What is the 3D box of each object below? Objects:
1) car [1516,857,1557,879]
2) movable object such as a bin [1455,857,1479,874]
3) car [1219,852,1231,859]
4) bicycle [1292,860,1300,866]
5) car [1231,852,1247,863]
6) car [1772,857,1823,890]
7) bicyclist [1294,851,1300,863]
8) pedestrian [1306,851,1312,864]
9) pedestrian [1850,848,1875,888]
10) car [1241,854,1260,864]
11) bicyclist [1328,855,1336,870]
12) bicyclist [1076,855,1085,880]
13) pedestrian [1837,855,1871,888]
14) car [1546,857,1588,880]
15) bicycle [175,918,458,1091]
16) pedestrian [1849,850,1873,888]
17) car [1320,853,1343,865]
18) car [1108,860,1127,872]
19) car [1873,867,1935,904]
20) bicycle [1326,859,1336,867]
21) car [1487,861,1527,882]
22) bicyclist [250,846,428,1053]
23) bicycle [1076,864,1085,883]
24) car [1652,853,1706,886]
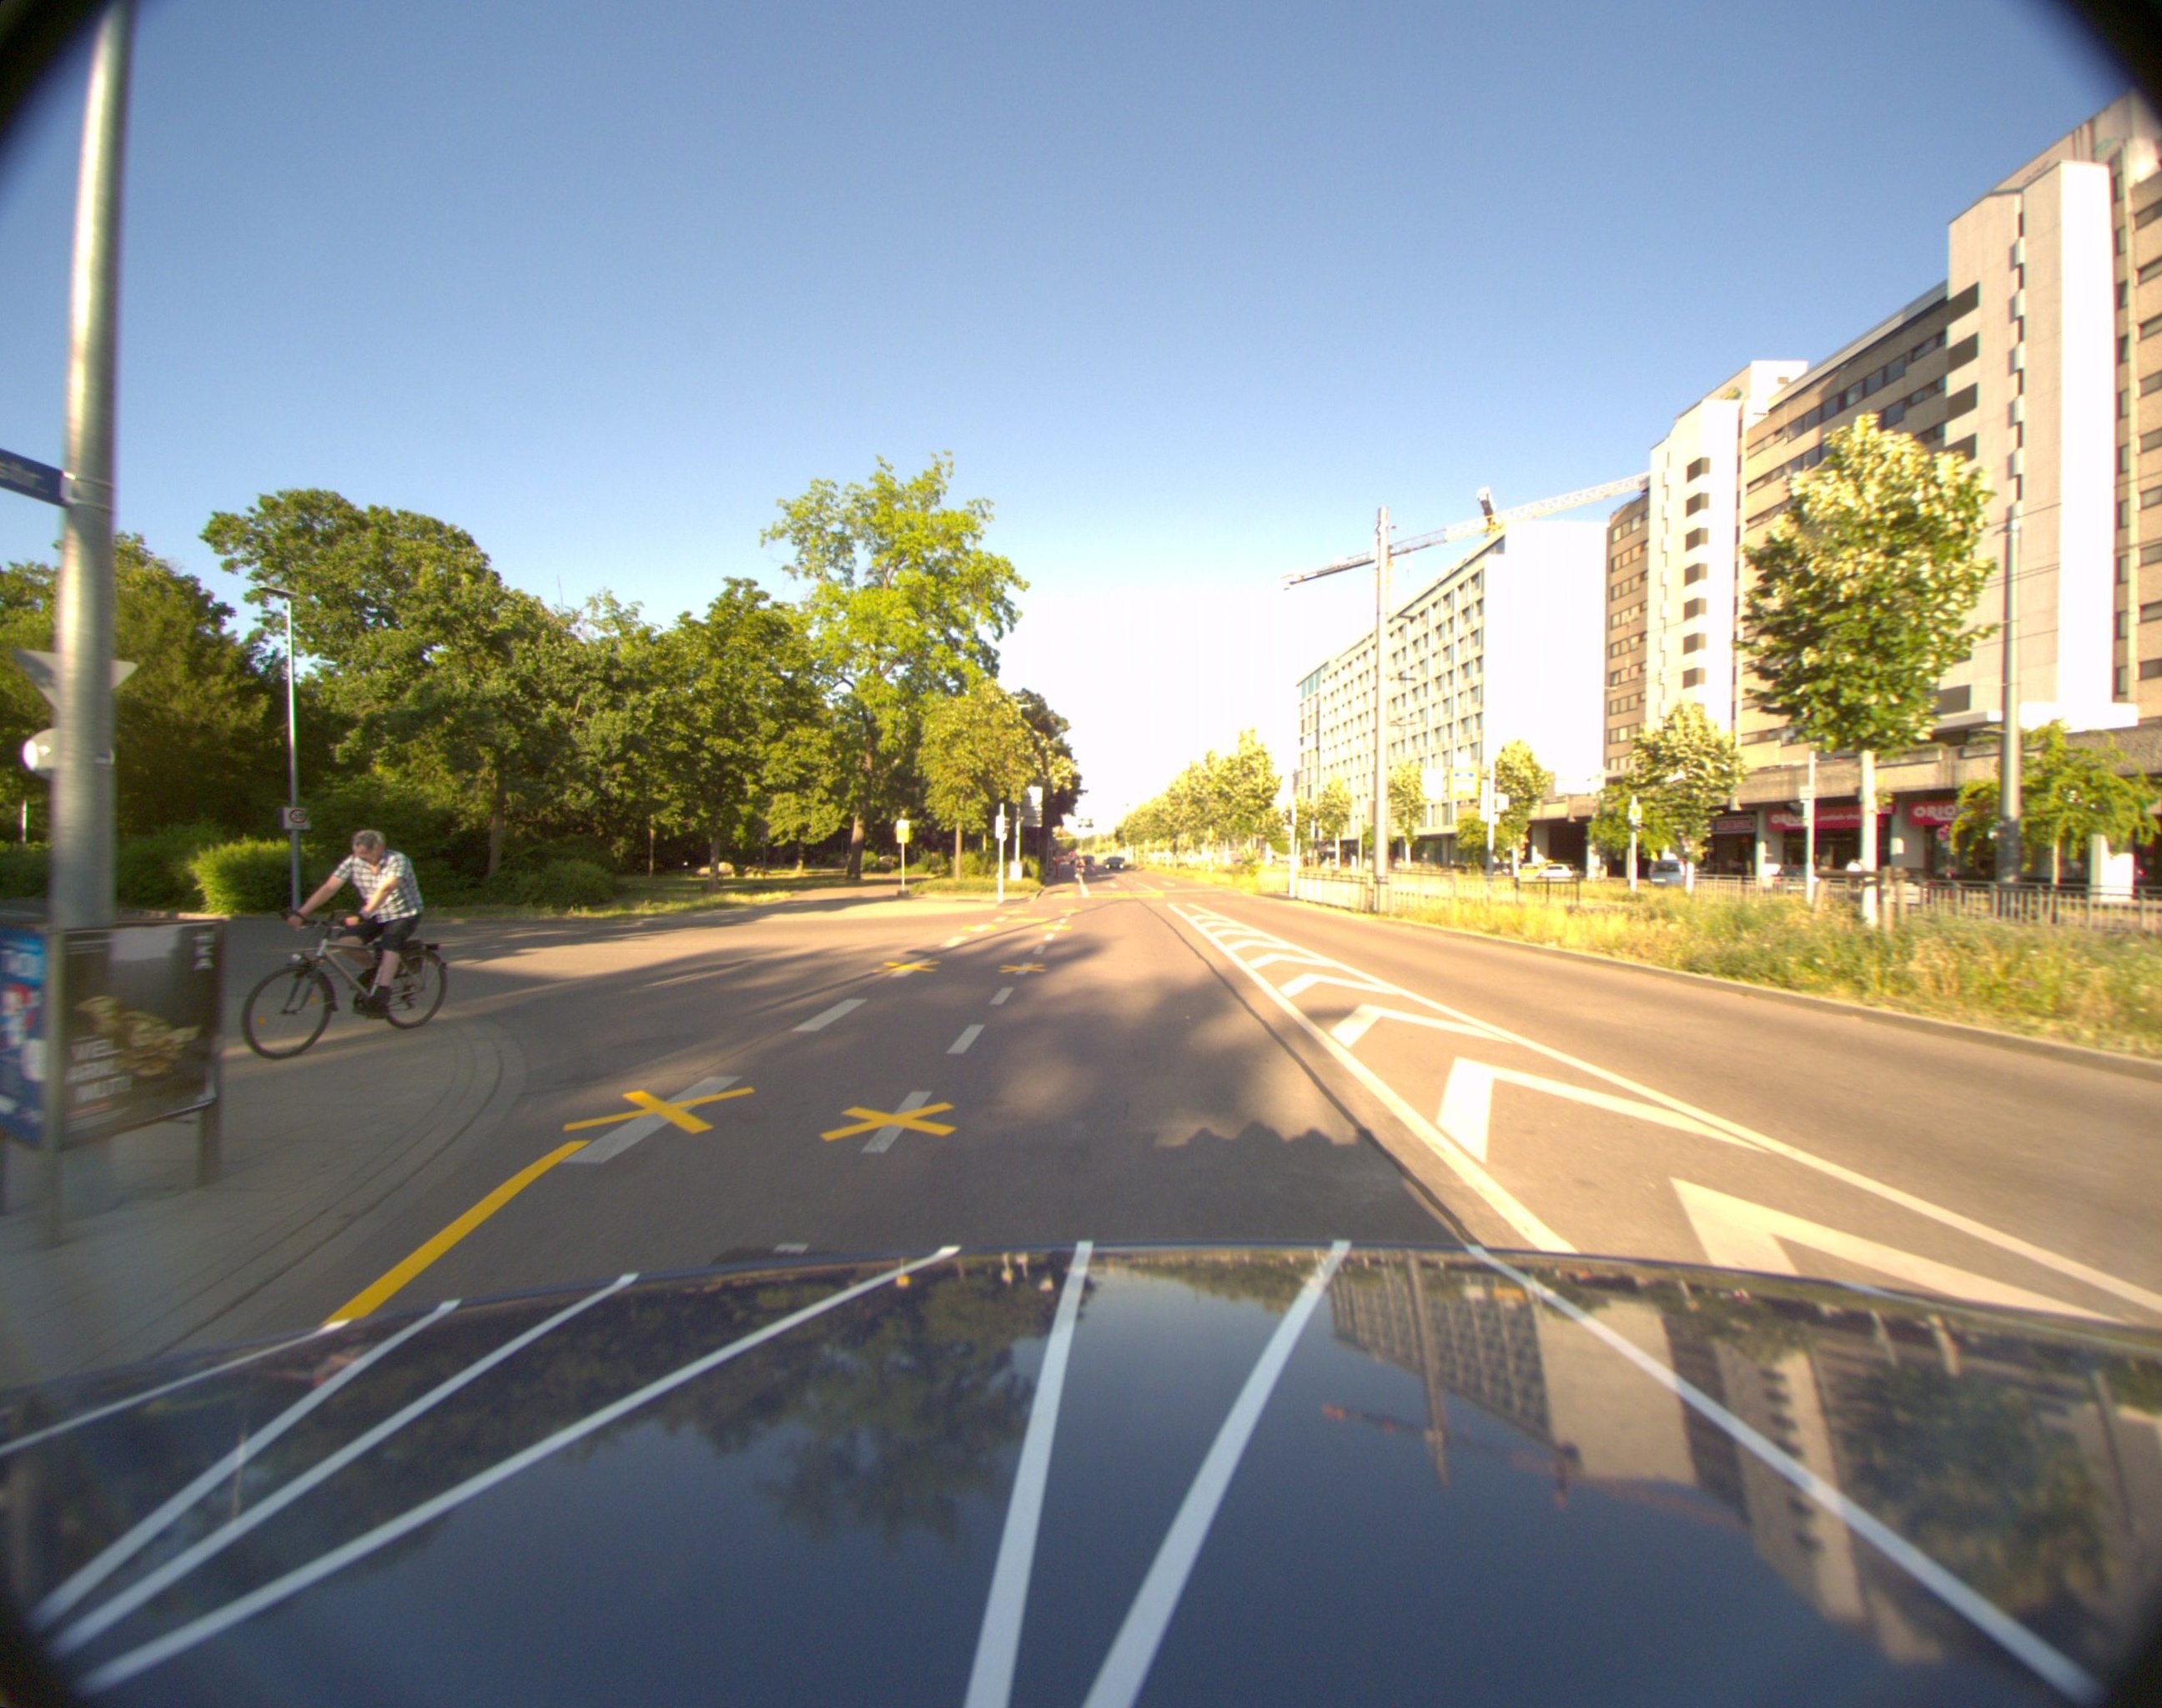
[{"bbox_3d":[33.625,0.994,56.062,1.785,1.436,3.809,-1,1,44],"label":"car"},{"bbox_3d":[32.824,0.975,64.659,1.390,1.363,1.171,0,1,-2],"label":"movable object such as a bin"},{"bbox_3d":[30.529,0.379,161.188,1.613,1.370,3.878,-2,1,0],"label":"car"},{"bbox_3d":[30.084,1.224,106.098,0.437,0.857,2.102,1,0,-2],"label":"bicycle"},{"bbox_3d":[28.070,0.621,135.152,1.874,1.692,4.487,-2,1,0],"label":"car"},{"bbox_3d":[34.452,0.916,36.521,3.473,1.394,1.616,-2,1,-44],"label":"car"},{"bbox_3d":[30.121,0.363,106.175,0.539,1.647,0.919,1,1,-2],"label":"bicyclist"},{"bbox_3d":[34.555,0.546,115.256,0.622,2.002,0.726,0,1,0],"label":"pedestrian"},{"bbox_3d":[40.129,0.707,39.007,0.549,2.002,0.654,0,1,-1],"label":"pedestrian"},{"bbox_3d":[27.117,0.774,121.723,1.874,1.579,4.638,-2,1,0],"label":"car"},{"bbox_3d":[30.187,1.004,91.458,0.559,1.735,0.919,1,1,-2],"label":"bicyclist"},{"bbox_3d":[-0.035,0.736,42.630,0.516,1.399,0.805,0,1,-1],"label":"bicyclist"},{"bbox_3d":[38.900,0.871,38.244,0.776,1.630,0.882,0,1,-2],"label":"pedestrian"},{"bbox_3d":[33.843,1.011,52.845,3.800,1.436,1.616,-2,1,-44],"label":"car"},{"bbox_3d":[-6.196,1.150,6.338,0.429,1.055,1.911,0,1,0],"label":"bicycle"},{"bbox_3d":[41.411,0.813,40.338,0.549,2.002,0.654,0,1,-1],"label":"pedestrian"},{"bbox_3d":[32.476,0.584,98.478,1.874,1.457,3.389,-2,1,0],"label":"car"},{"bbox_3d":[4.067,1.345,85.625,1.998,1.346,4.000,0,0,1],"label":"car"},{"bbox_3d":[33.238,1.225,30.752,3.473,1.266,1.616,-2,1,-44],"label":"car"},{"bbox_3d":[30.169,1.068,91.634,0.437,0.857,2.102,1,0,-2],"label":"bicycle"},{"bbox_3d":[33.287,1.331,59.343,1.616,1.436,4.556,-1,1,44],"label":"car"},{"bbox_3d":[-6.127,0.735,6.331,0.585,1.605,0.903,0,1,-1],"label":"bicyclist"},{"bbox_3d":[-0.043,1.113,42.682,0.506,1.018,1.505,0,1,-1],"label":"bicycle"},{"bbox_3d":[33.919,0.831,43.070,4.204,1.681,1.617,-2,1,-41],"label":"car"}]
